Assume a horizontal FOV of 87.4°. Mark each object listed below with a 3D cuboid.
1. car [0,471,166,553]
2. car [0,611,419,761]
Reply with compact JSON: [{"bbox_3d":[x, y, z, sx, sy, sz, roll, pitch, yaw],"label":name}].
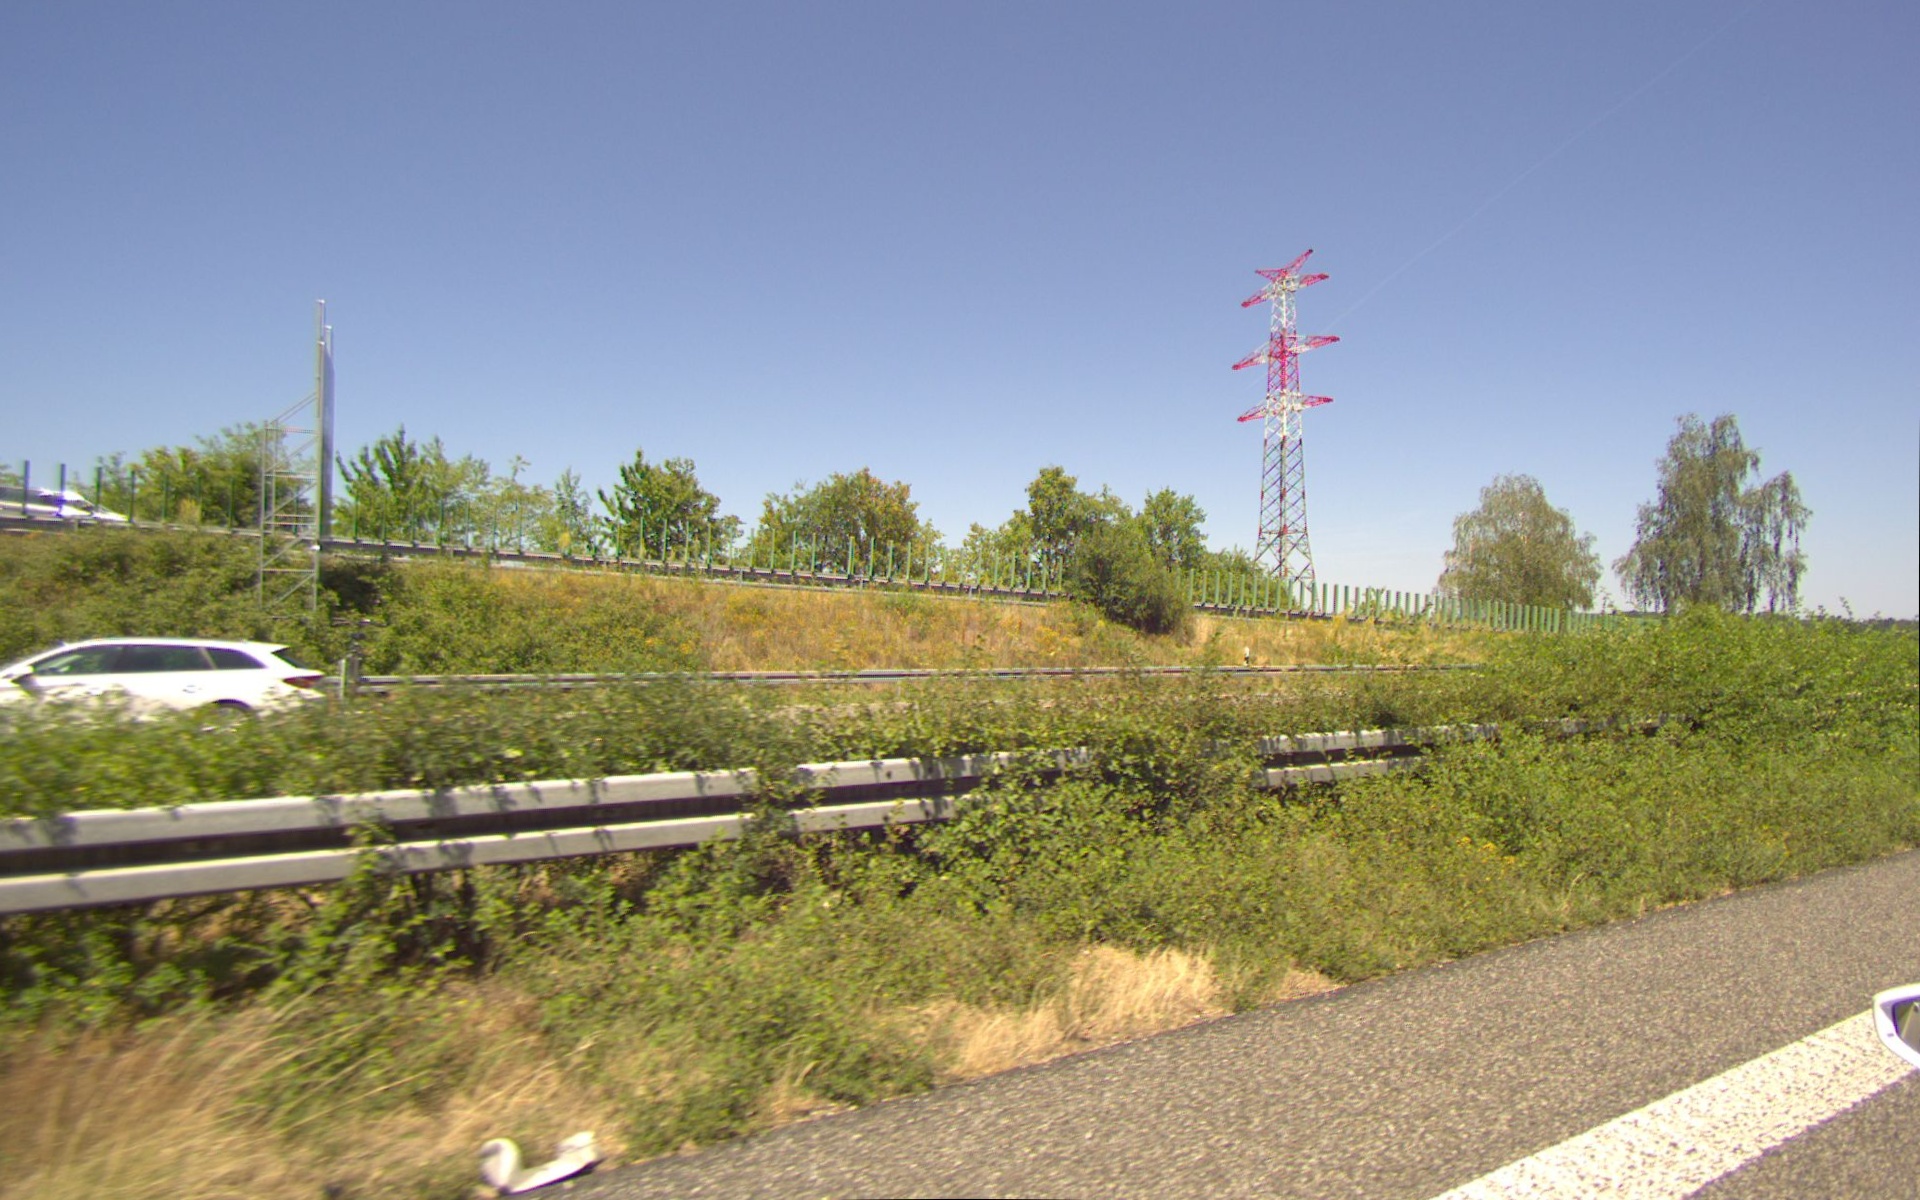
[{"bbox_3d":[-23.178,-2.253,25.838,3.945,1.818,1.717,2,0,-24],"label":"car"},{"bbox_3d":[-10.154,1.035,13.013,5.436,1.705,1.822,2,-2,-32],"label":"car"}]
